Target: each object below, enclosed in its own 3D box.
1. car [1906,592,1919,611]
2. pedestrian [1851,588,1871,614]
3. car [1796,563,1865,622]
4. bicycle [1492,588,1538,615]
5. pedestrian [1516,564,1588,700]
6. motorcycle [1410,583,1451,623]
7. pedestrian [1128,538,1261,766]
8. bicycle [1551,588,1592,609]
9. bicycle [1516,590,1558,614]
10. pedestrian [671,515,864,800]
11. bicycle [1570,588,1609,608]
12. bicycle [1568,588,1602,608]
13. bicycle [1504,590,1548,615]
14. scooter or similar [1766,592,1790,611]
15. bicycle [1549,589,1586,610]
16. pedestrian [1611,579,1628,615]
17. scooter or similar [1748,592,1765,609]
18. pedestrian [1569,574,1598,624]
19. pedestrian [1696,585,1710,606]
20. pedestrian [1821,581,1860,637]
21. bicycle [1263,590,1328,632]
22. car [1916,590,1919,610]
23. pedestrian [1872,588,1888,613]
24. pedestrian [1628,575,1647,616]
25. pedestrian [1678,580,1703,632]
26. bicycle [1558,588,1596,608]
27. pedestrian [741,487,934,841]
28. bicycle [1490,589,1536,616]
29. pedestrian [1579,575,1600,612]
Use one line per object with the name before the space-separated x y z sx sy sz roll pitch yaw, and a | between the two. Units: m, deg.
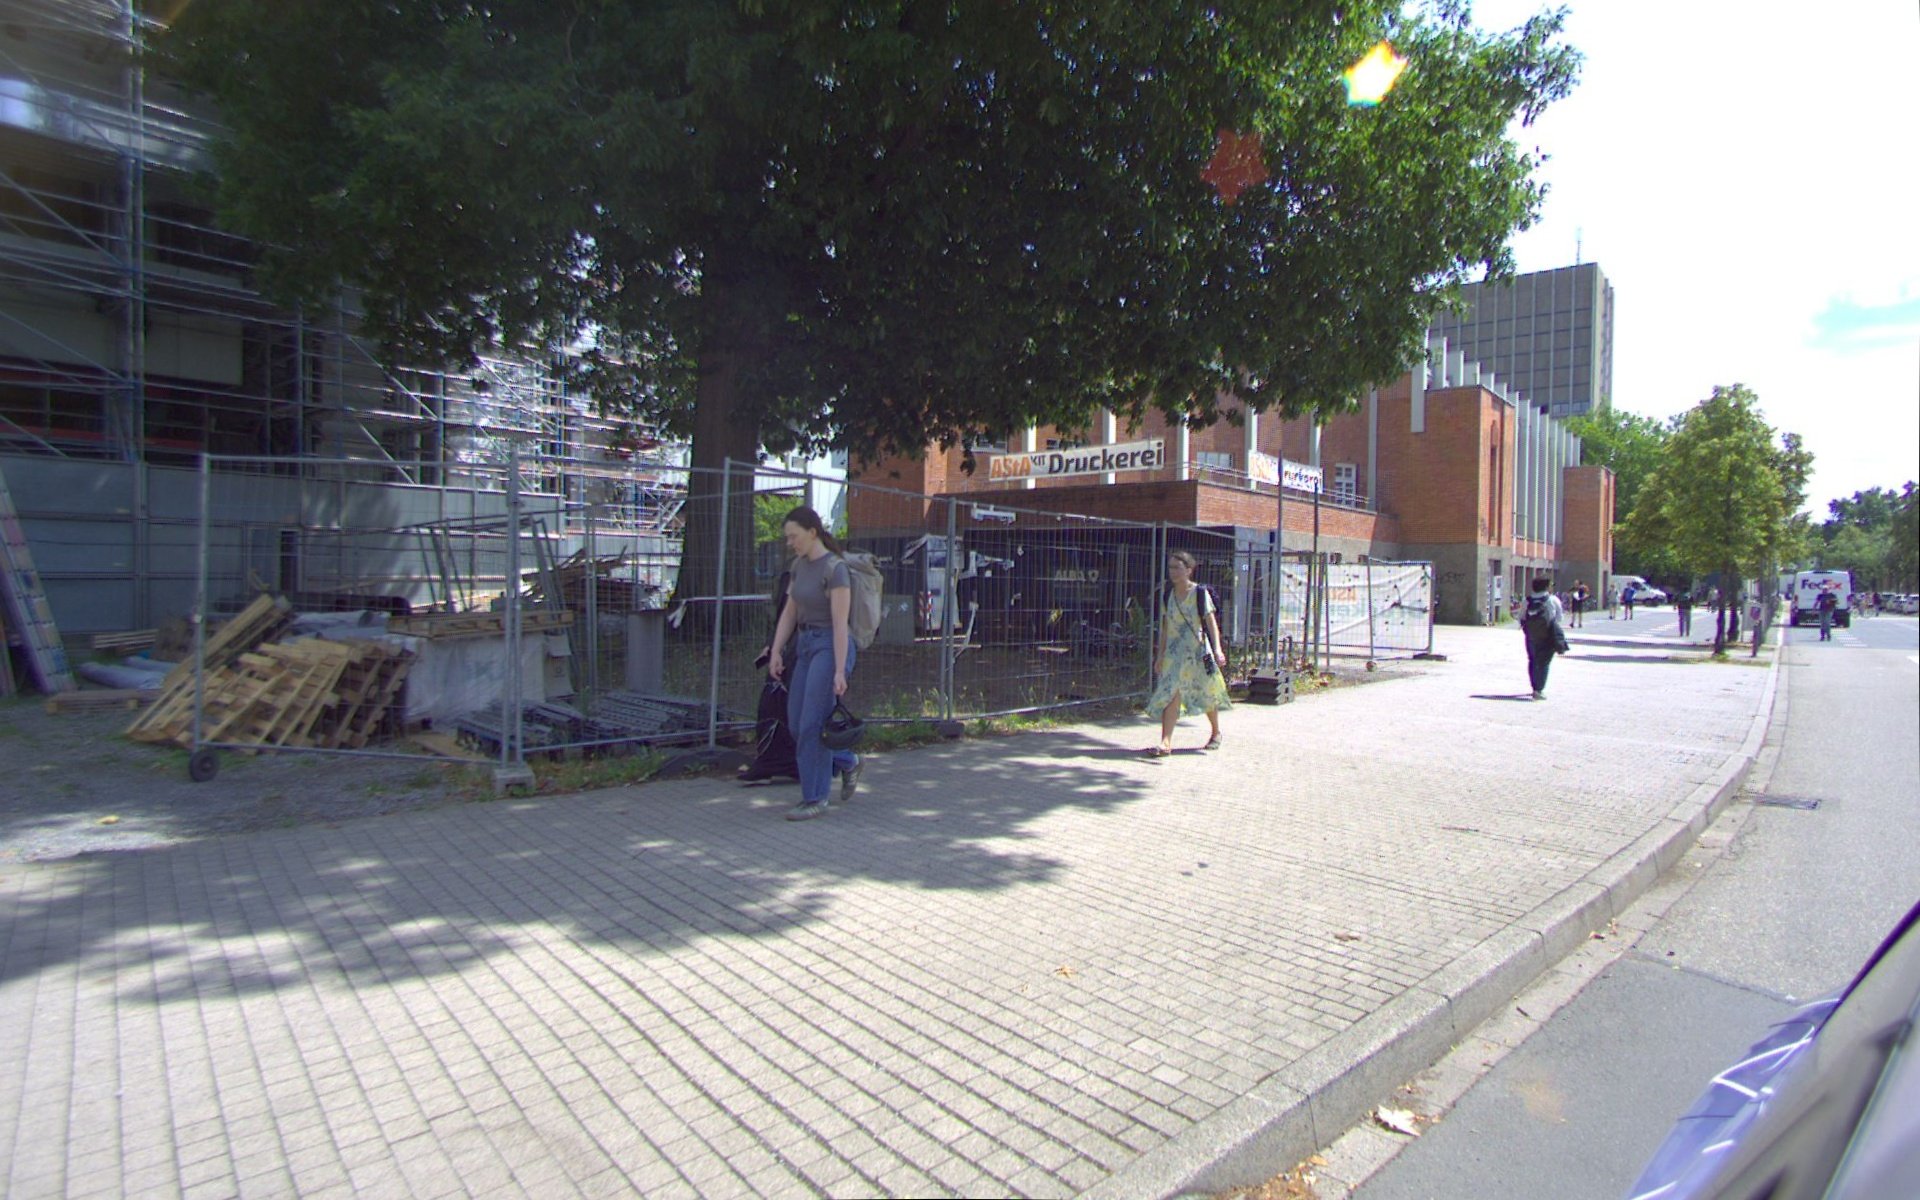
car | 71.098 0.099 74.720 1.642 1.394 3.941 2 1 40
pedestrian | 61.981 0.057 69.594 0.718 1.809 0.894 1 1 22
car | 40.409 -0.384 47.090 2.055 2.575 5.770 2 2 38
bicycle | 25.195 0.064 45.952 1.750 1.164 0.510 2 1 39
pedestrian | 8.136 0.413 13.916 0.694 1.803 0.775 2 2 40
motorcycle | 16.628 0.087 35.727 0.696 1.340 2.186 2 1 42
pedestrian | 1.863 0.367 8.019 0.649 1.686 0.891 2 2 42
bicycle | 34.534 -0.077 57.188 1.908 1.124 0.429 2 1 39
bicycle | 27.828 0.098 48.810 1.680 1.124 0.429 2 1 39
pedestrian | -1.195 0.313 6.321 0.969 1.619 0.669 0 2 -44
bicycle | 38.335 -0.134 61.644 1.927 1.124 0.450 2 1 39
bicycle | 37.207 -0.106 60.265 1.692 1.124 0.429 2 1 39
bicycle | 26.729 0.097 47.806 1.744 1.124 0.429 2 1 39
scooter or similar | 56.821 0.100 70.334 0.564 1.259 1.146 1 1 -15
bicycle | 33.525 -0.051 55.878 1.680 1.124 0.429 2 1 39
pedestrian | 32.534 -0.160 49.898 0.583 1.728 0.989 2 2 37
scooter or similar | 56.863 0.030 72.235 1.450 1.194 0.576 1 1 -37
pedestrian | 23.664 -0.061 38.393 0.841 1.857 1.182 1 1 35
pedestrian | 62.181 -0.403 84.669 0.779 1.696 1.068 2 2 31
pedestrian | 29.561 0.277 33.986 0.820 1.840 1.130 1 1 35
bicycle | 9.369 0.289 28.305 1.700 1.123 0.441 2 1 41
car | 67.637 0.011 70.197 1.628 1.449 3.581 2 1 39
pedestrian | 62.928 0.022 69.233 0.553 1.738 0.963 1 1 28
pedestrian | 33.102 -0.233 49.416 0.662 1.913 1.095 2 2 37
pedestrian | 24.926 0.197 34.539 0.639 1.718 0.782 1 1 35
bicycle | 35.690 -0.106 58.550 1.794 1.124 0.429 2 1 39
pedestrian | -0.697 0.309 5.655 0.703 1.785 0.852 0 2 -40
bicycle | 24.691 0.102 45.181 1.750 1.164 0.429 2 1 39
pedestrian | 32.354 -0.324 52.023 0.891 1.857 0.663 0 1 -44
